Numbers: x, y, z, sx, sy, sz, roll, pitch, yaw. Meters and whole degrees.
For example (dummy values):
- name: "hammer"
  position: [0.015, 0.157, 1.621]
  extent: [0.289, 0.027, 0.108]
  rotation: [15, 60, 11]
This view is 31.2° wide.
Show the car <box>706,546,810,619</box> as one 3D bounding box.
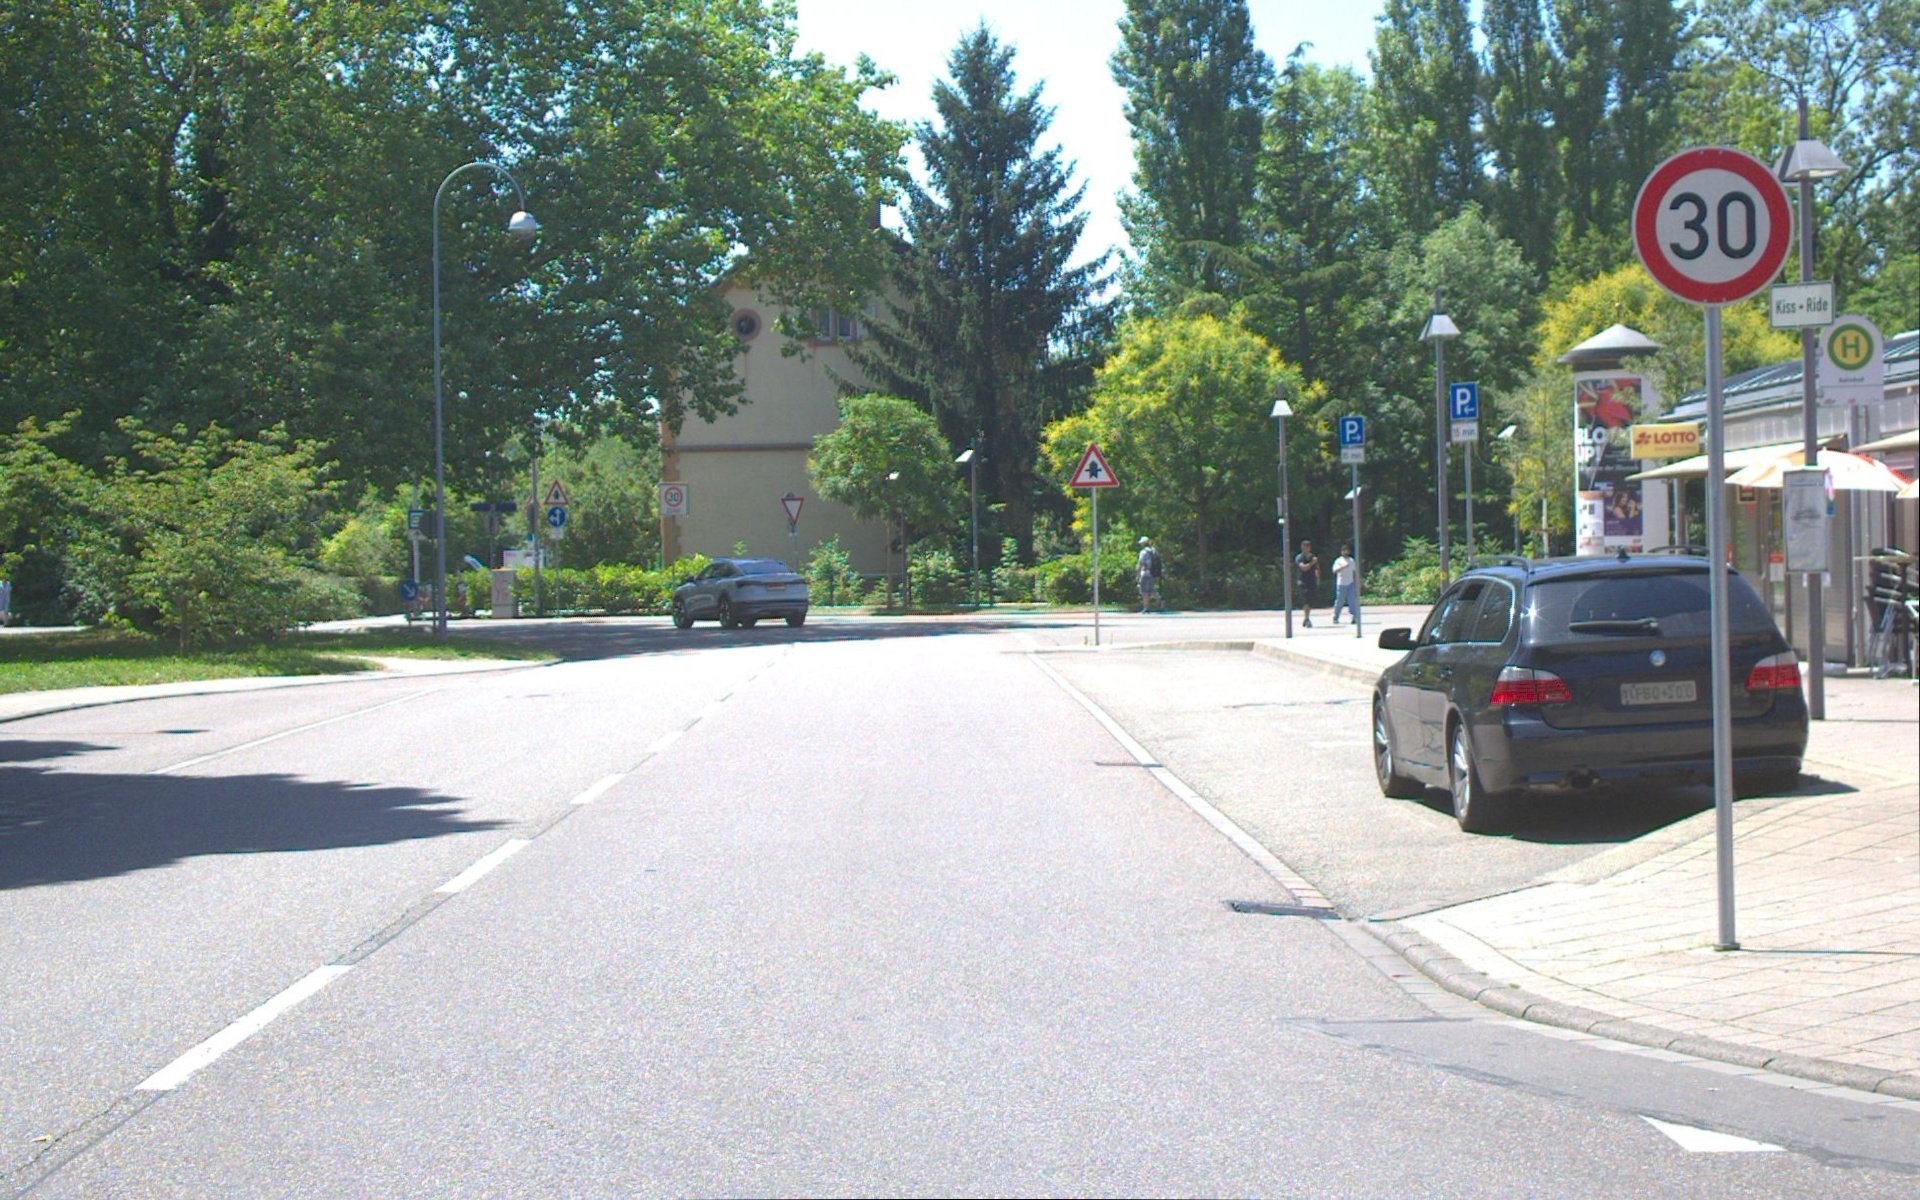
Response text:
- name: "car"
  position: [-4.788, -0.440, 80.882]
  extent: [1.982, 1.621, 4.780]
  rotation: [-1, 1, -9]

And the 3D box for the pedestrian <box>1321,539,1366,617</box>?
- name: "pedestrian"
  position: [8.127, -0.460, 72.773]
  extent: [0.721, 1.644, 0.749]
  rotation: [-1, -1, 28]

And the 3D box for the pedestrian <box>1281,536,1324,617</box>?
- name: "pedestrian"
  position: [7.101, -0.480, 71.264]
  extent: [0.636, 1.644, 0.749]
  rotation: [-1, -1, 27]

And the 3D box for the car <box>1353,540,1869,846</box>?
- name: "car"
  position: [3.632, 0.453, 20.113]
  extent: [1.926, 1.455, 4.725]
  rotation: [-4, 1, -1]

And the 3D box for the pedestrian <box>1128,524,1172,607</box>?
- name: "pedestrian"
  position: [4.548, -0.825, 82.204]
  extent: [0.855, 1.959, 0.805]
  rotation: [-1, 1, 18]
